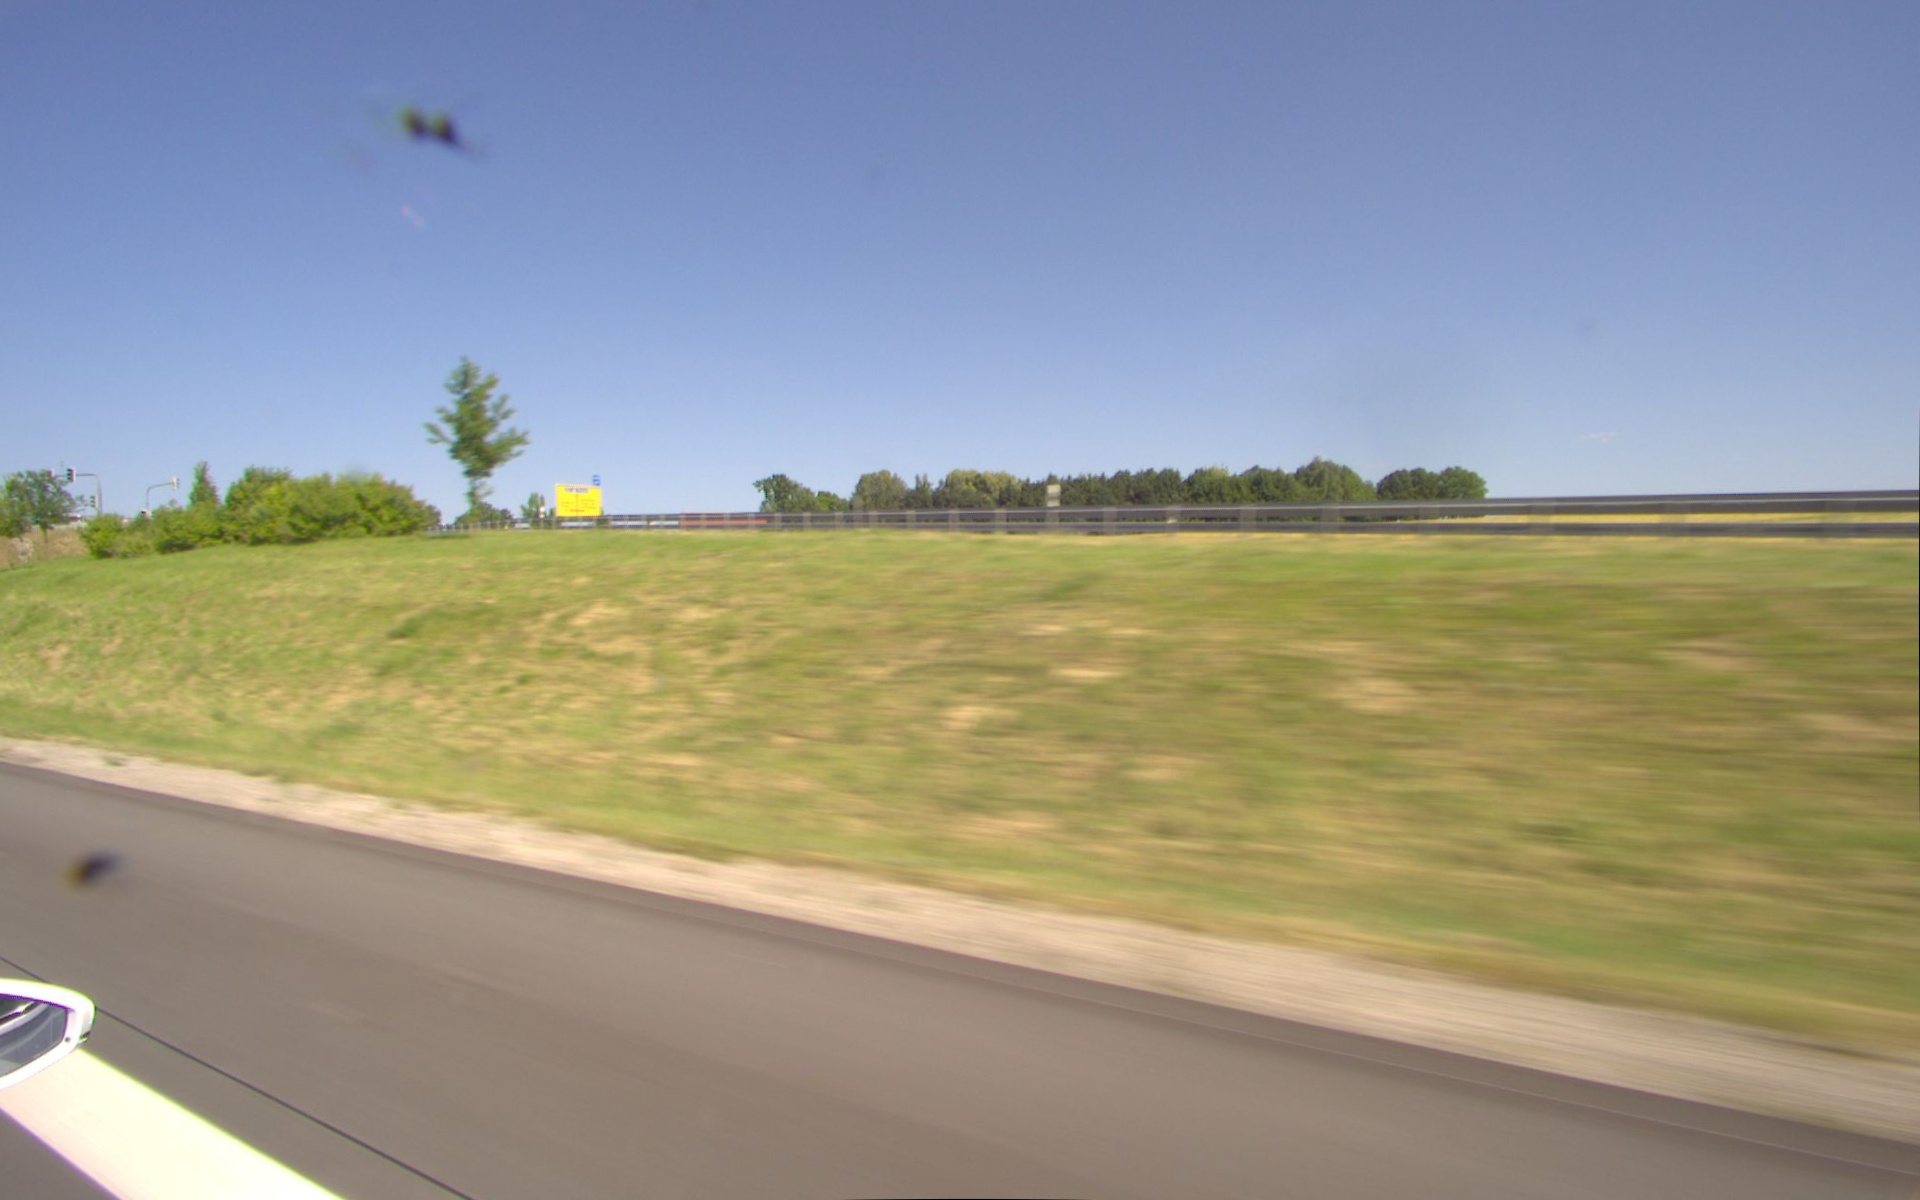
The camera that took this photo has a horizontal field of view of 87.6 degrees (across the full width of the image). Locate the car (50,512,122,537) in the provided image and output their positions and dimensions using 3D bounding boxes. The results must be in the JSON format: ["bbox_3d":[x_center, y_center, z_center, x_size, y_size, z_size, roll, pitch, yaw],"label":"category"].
[{"bbox_3d":[-74.322,-6.385,85.173,1.966,1.907,4.124,0,1,22],"label":"car"}]
